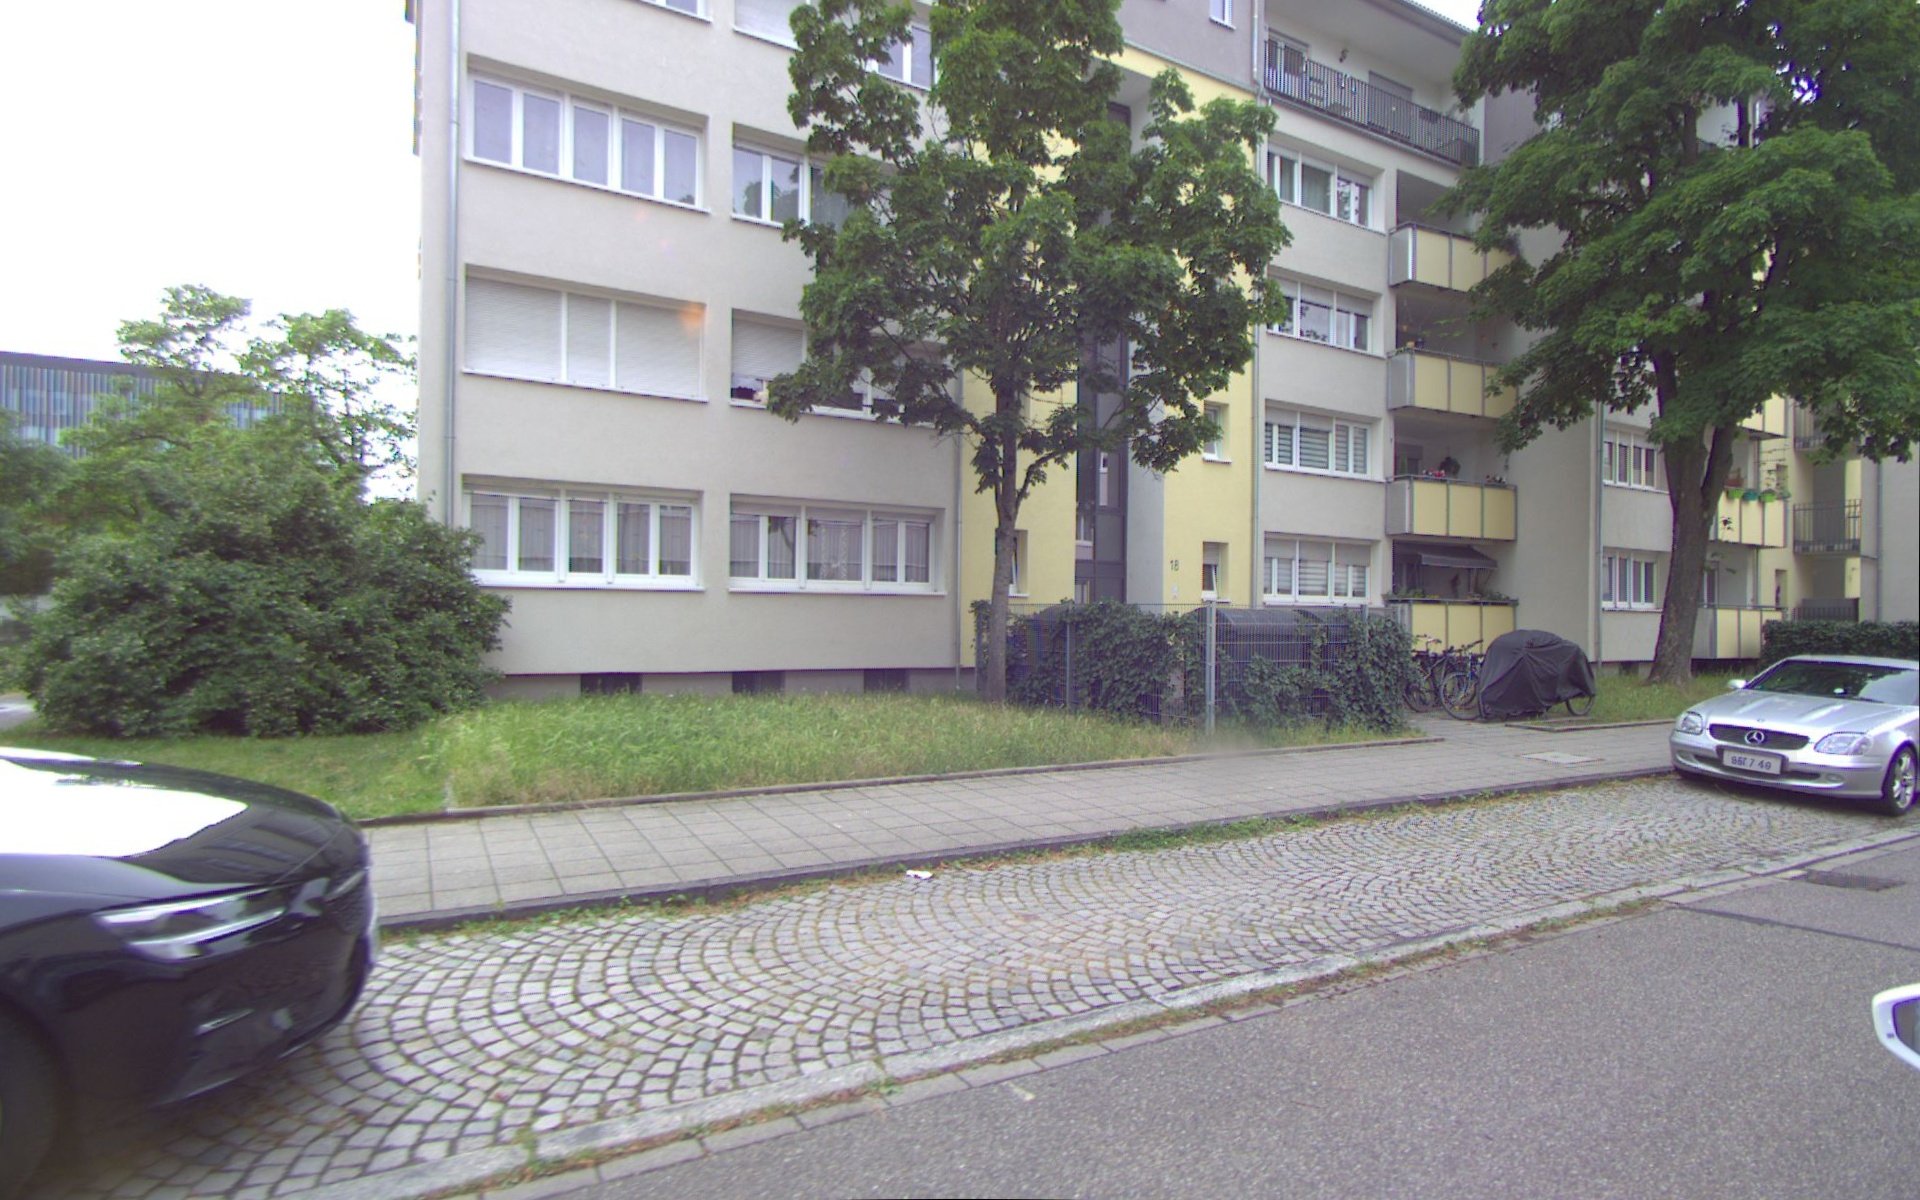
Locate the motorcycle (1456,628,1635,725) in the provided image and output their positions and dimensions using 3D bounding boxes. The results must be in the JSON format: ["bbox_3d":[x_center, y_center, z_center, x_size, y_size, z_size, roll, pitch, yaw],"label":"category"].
[{"bbox_3d":[8.266,1.030,14.111,3.028,1.240,0.678,1,0,-28],"label":"motorcycle"}]

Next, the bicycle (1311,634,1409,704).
[{"bbox_3d":[6.722,1.134,16.862,1.753,1.115,0.549,1,-1,-29],"label":"bicycle"}]

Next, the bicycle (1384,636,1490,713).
[{"bbox_3d":[7.320,1.116,15.385,1.753,1.115,0.549,1,-1,-29],"label":"bicycle"}]

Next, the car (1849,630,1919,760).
[{"bbox_3d":[13.028,1.131,12.291,4.574,1.440,1.833,1,1,-30],"label":"car"}]

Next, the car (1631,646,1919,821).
[{"bbox_3d":[8.536,1.159,9.815,3.967,1.275,1.689,1,1,-30],"label":"car"}]

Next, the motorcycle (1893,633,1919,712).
[{"bbox_3d":[17.953,1.305,18.351,2.202,1.374,0.674,1,1,-30],"label":"motorcycle"}]

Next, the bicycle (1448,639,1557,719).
[{"bbox_3d":[8.002,1.135,14.793,1.753,1.115,0.549,1,-1,-29],"label":"bicycle"}]

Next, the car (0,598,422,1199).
[{"bbox_3d":[-4.014,0.747,2.412,4.775,1.484,1.859,1,1,-29],"label":"car"}]
